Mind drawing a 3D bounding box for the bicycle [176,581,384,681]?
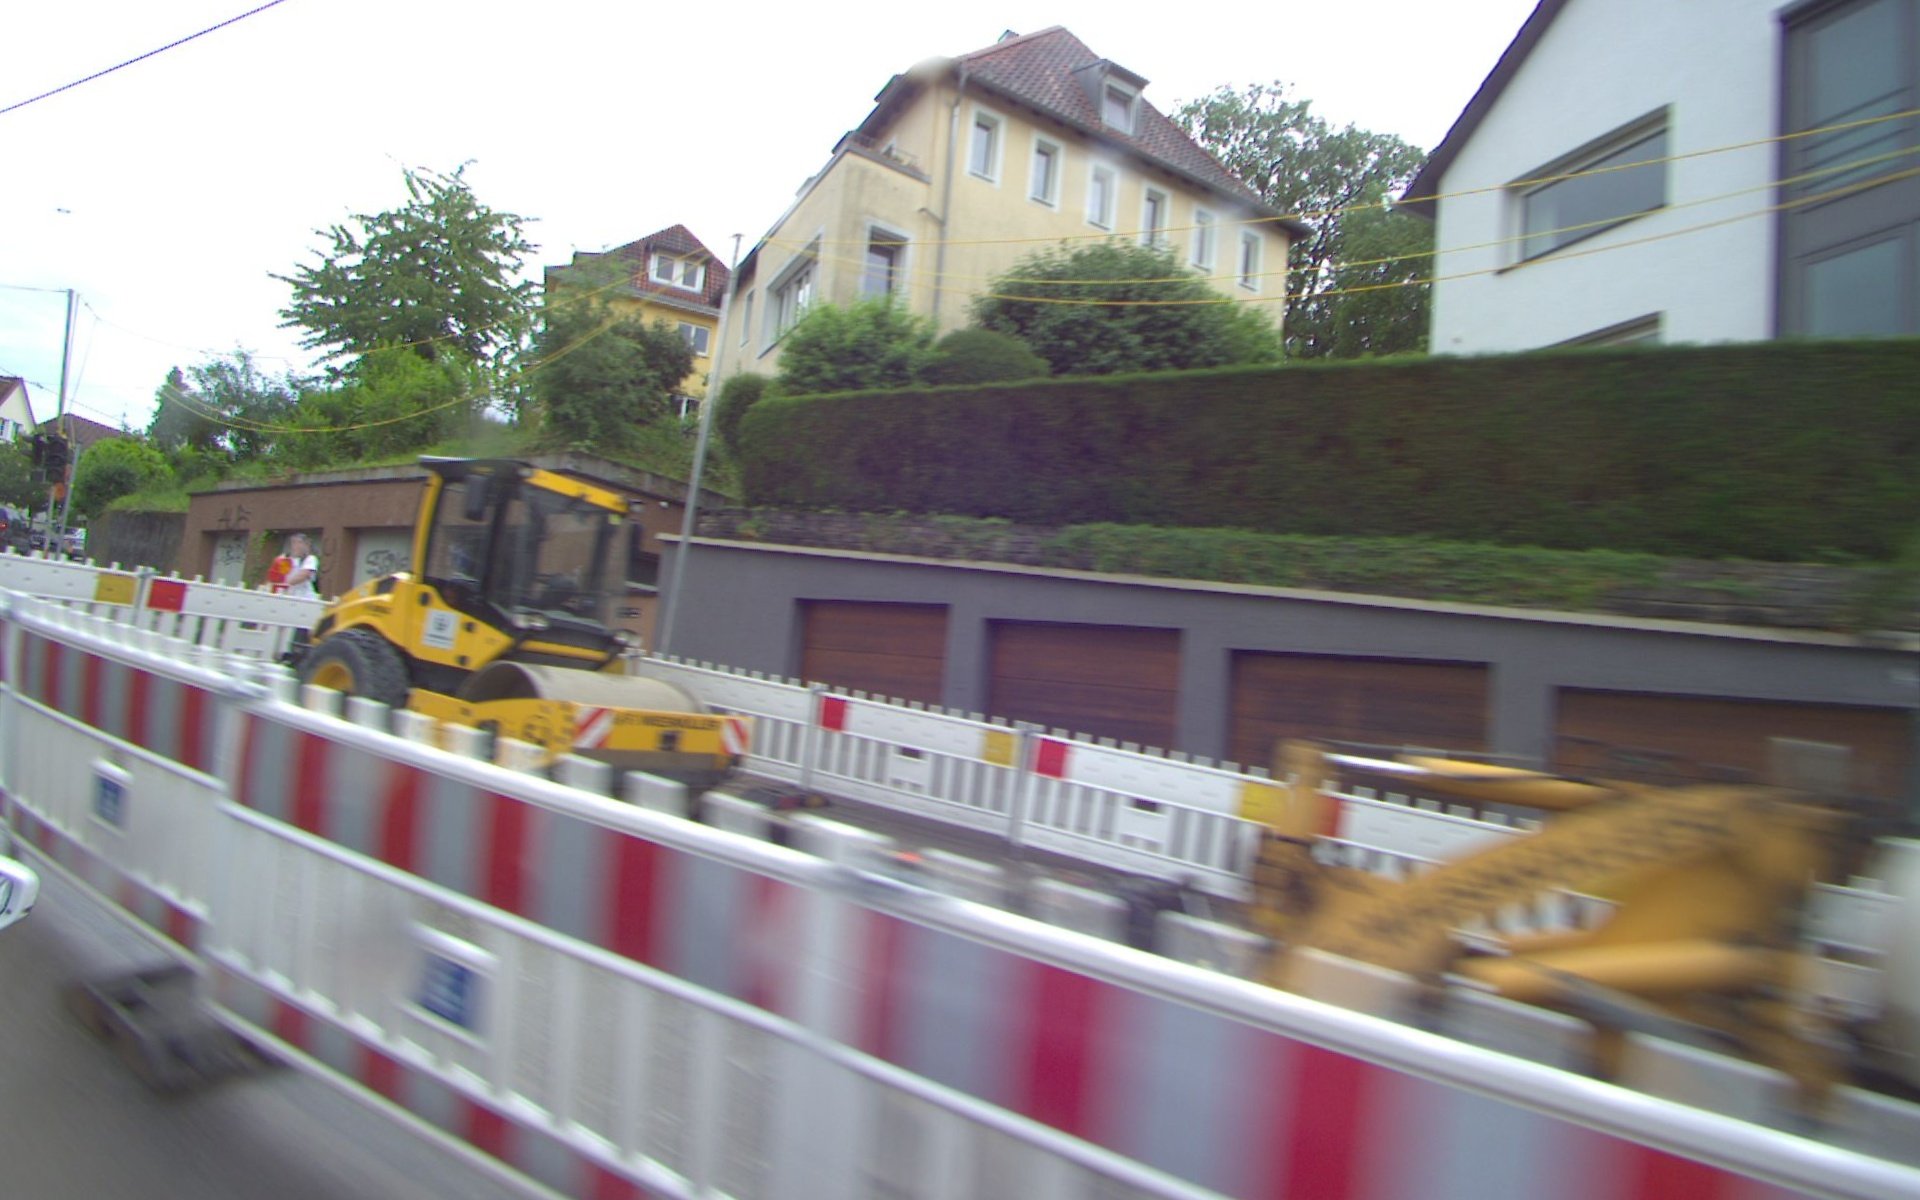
[{"bbox_3d":[-8.513,0.419,12.703,0.916,0.991,1.887,7,-4,23],"label":"bicycle"}]

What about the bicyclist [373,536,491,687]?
[{"bbox_3d":[-6.806,0.163,13.052,1.064,1.747,0.928,9,-3,-24],"label":"bicyclist"}]

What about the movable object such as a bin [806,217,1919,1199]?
[{"bbox_3d":[2.541,0.770,2.810,5.584,2.869,2.091,4,-4,32],"label":"movable object such as a bin"}]

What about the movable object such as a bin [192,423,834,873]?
[{"bbox_3d":[-4.135,0.174,8.912,5.583,2.869,2.091,7,-2,32],"label":"movable object such as a bin"}]

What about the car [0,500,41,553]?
[{"bbox_3d":[-36.123,-2.815,37.593,1.722,1.790,4.198,8,0,-32],"label":"car"}]

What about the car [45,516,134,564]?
[{"bbox_3d":[-41.235,-2.812,47.788,1.717,1.788,4.215,9,-3,-22],"label":"car"}]

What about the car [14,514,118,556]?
[{"bbox_3d":[-49.665,-3.574,56.050,1.842,1.562,4.902,8,-3,-9],"label":"car"}]

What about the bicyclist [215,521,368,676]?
[{"bbox_3d":[-8.446,0.004,12.753,0.916,1.747,1.078,7,-3,23],"label":"bicyclist"}]
